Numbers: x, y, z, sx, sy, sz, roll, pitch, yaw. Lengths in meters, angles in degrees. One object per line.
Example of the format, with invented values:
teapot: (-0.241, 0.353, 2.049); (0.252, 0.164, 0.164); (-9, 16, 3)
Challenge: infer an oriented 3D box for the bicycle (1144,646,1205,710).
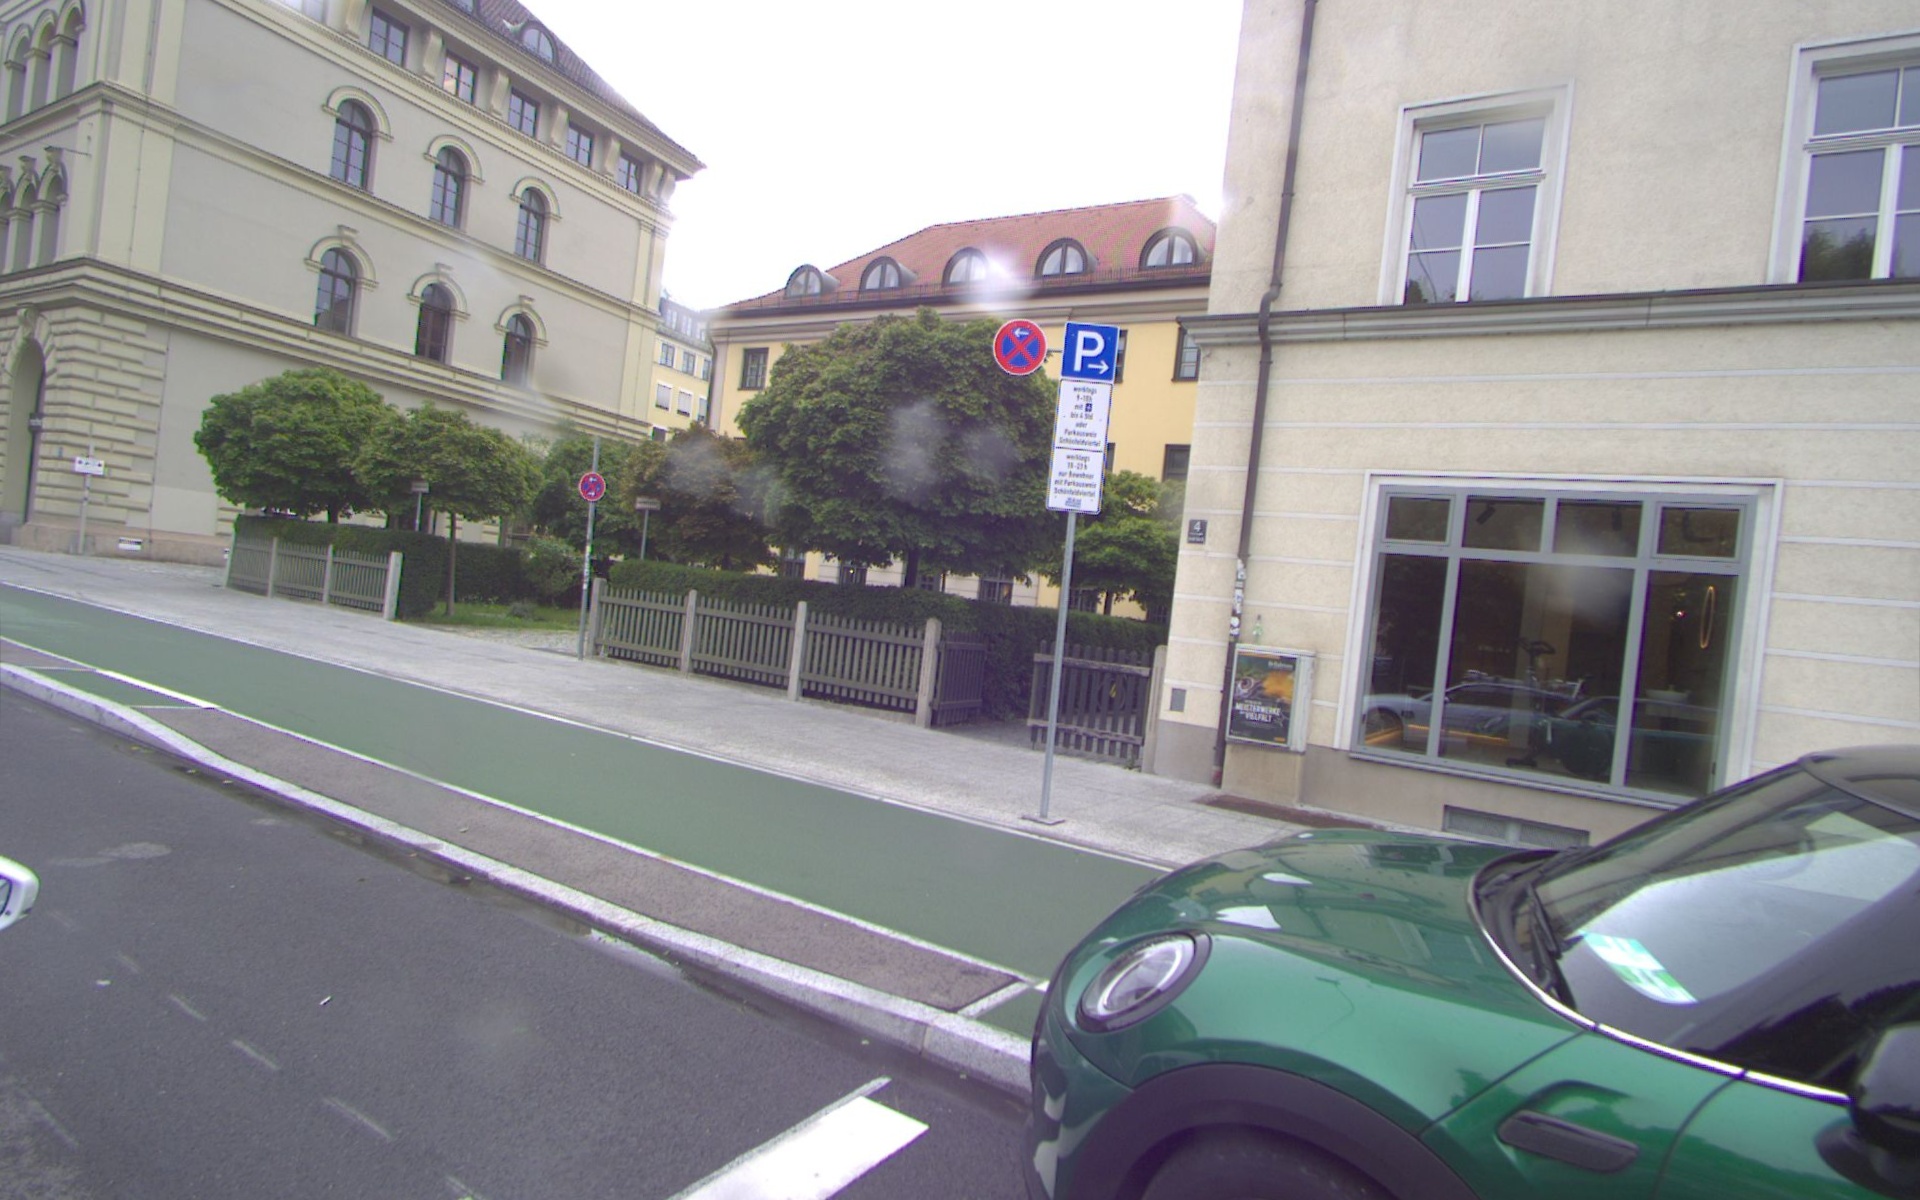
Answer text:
bicycle: (4.137, 1.496, 19.309); (0.512, 1.124, 1.830); (7, -1, 30)

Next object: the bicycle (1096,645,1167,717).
bicycle: (3.008, 1.408, 17.471); (0.512, 1.130, 1.830); (7, -1, 30)

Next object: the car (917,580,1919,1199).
car: (1.991, 0.986, 1.881); (3.767, 1.538, 1.678); (7, -1, 33)

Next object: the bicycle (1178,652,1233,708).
bicycle: (5.128, 1.669, 20.946); (0.512, 1.048, 1.830); (7, -1, 30)
